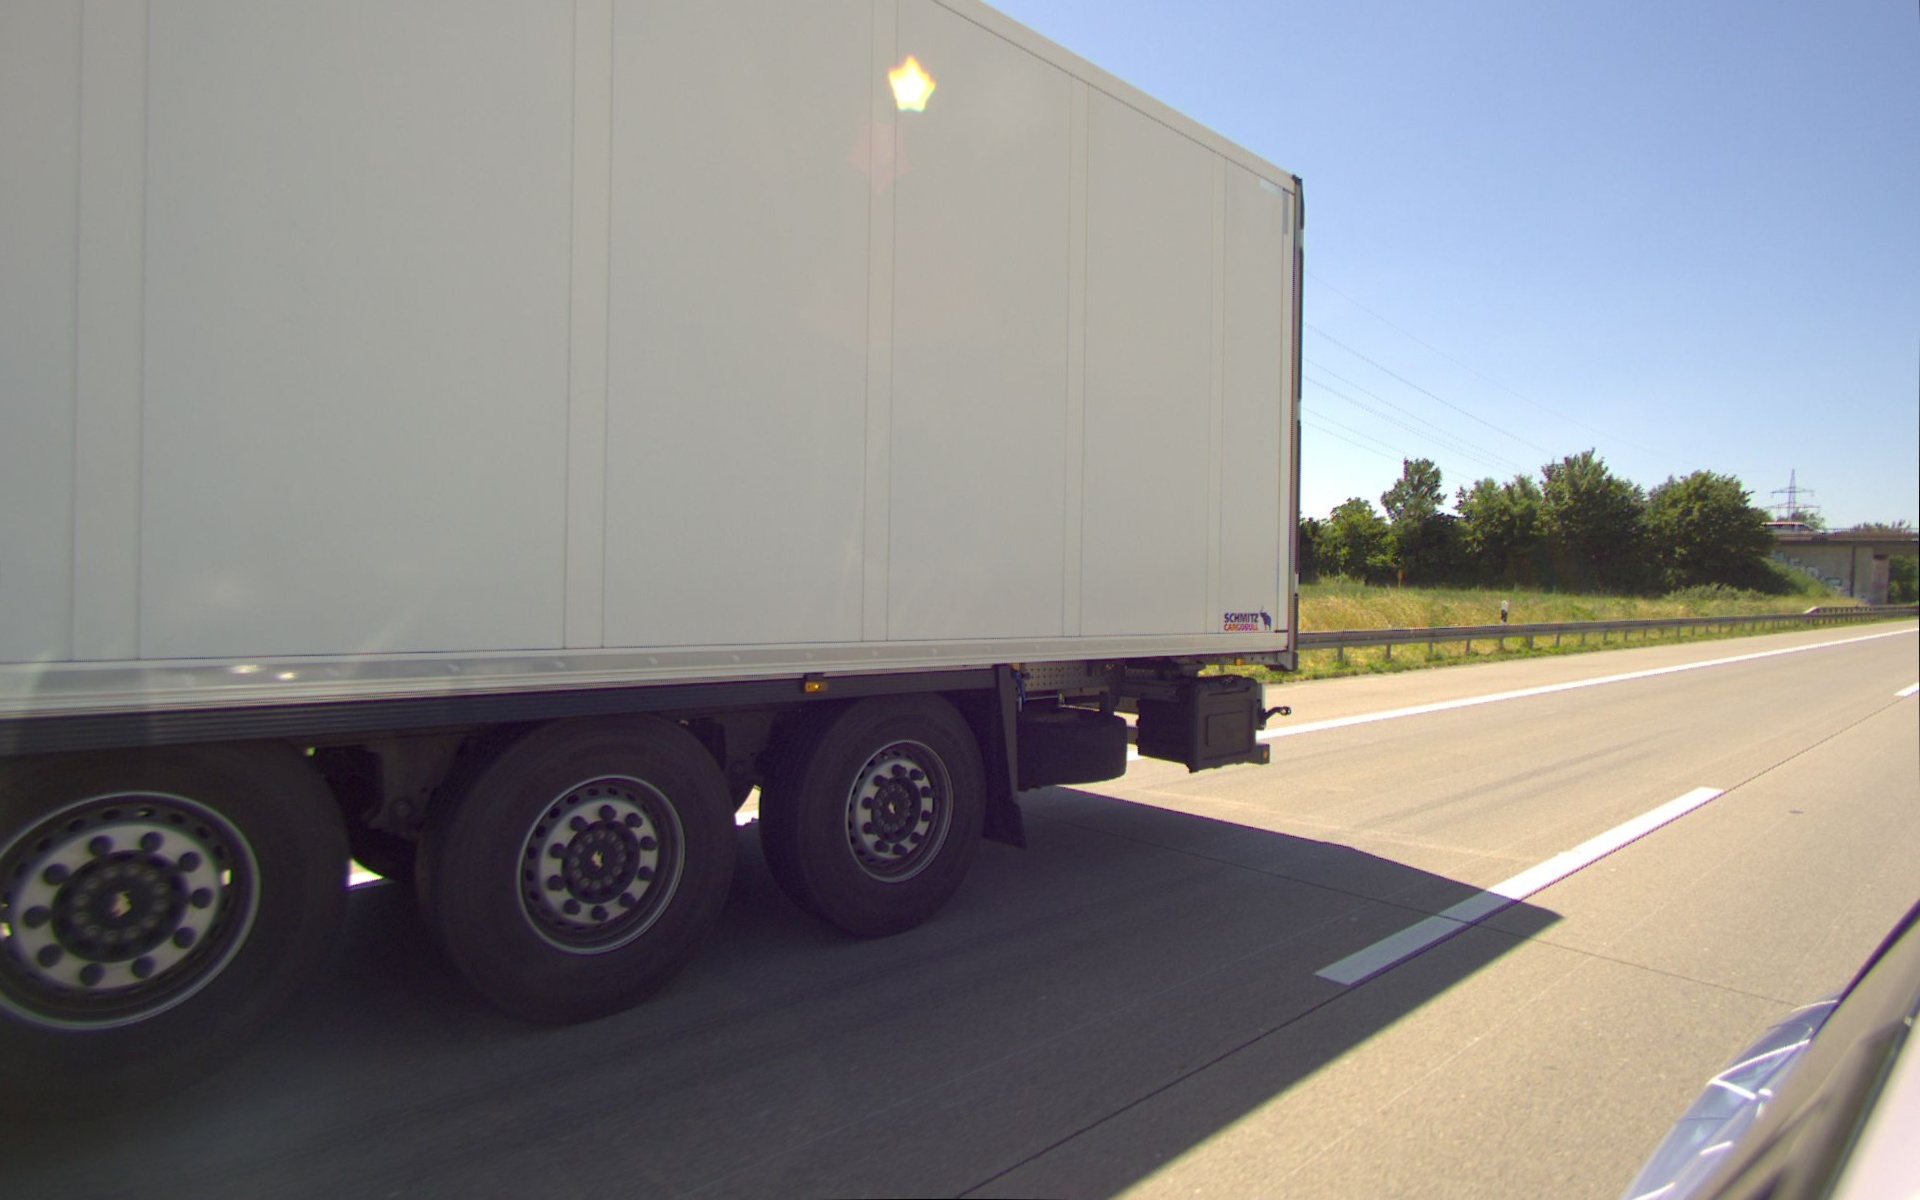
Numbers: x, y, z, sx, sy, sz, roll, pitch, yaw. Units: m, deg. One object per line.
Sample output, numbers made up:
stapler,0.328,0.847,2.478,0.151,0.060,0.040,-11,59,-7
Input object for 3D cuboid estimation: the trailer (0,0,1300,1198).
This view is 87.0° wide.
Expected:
trailer,-3.648,-0.703,2.785,12.677,4.094,2.713,0,0,-41
